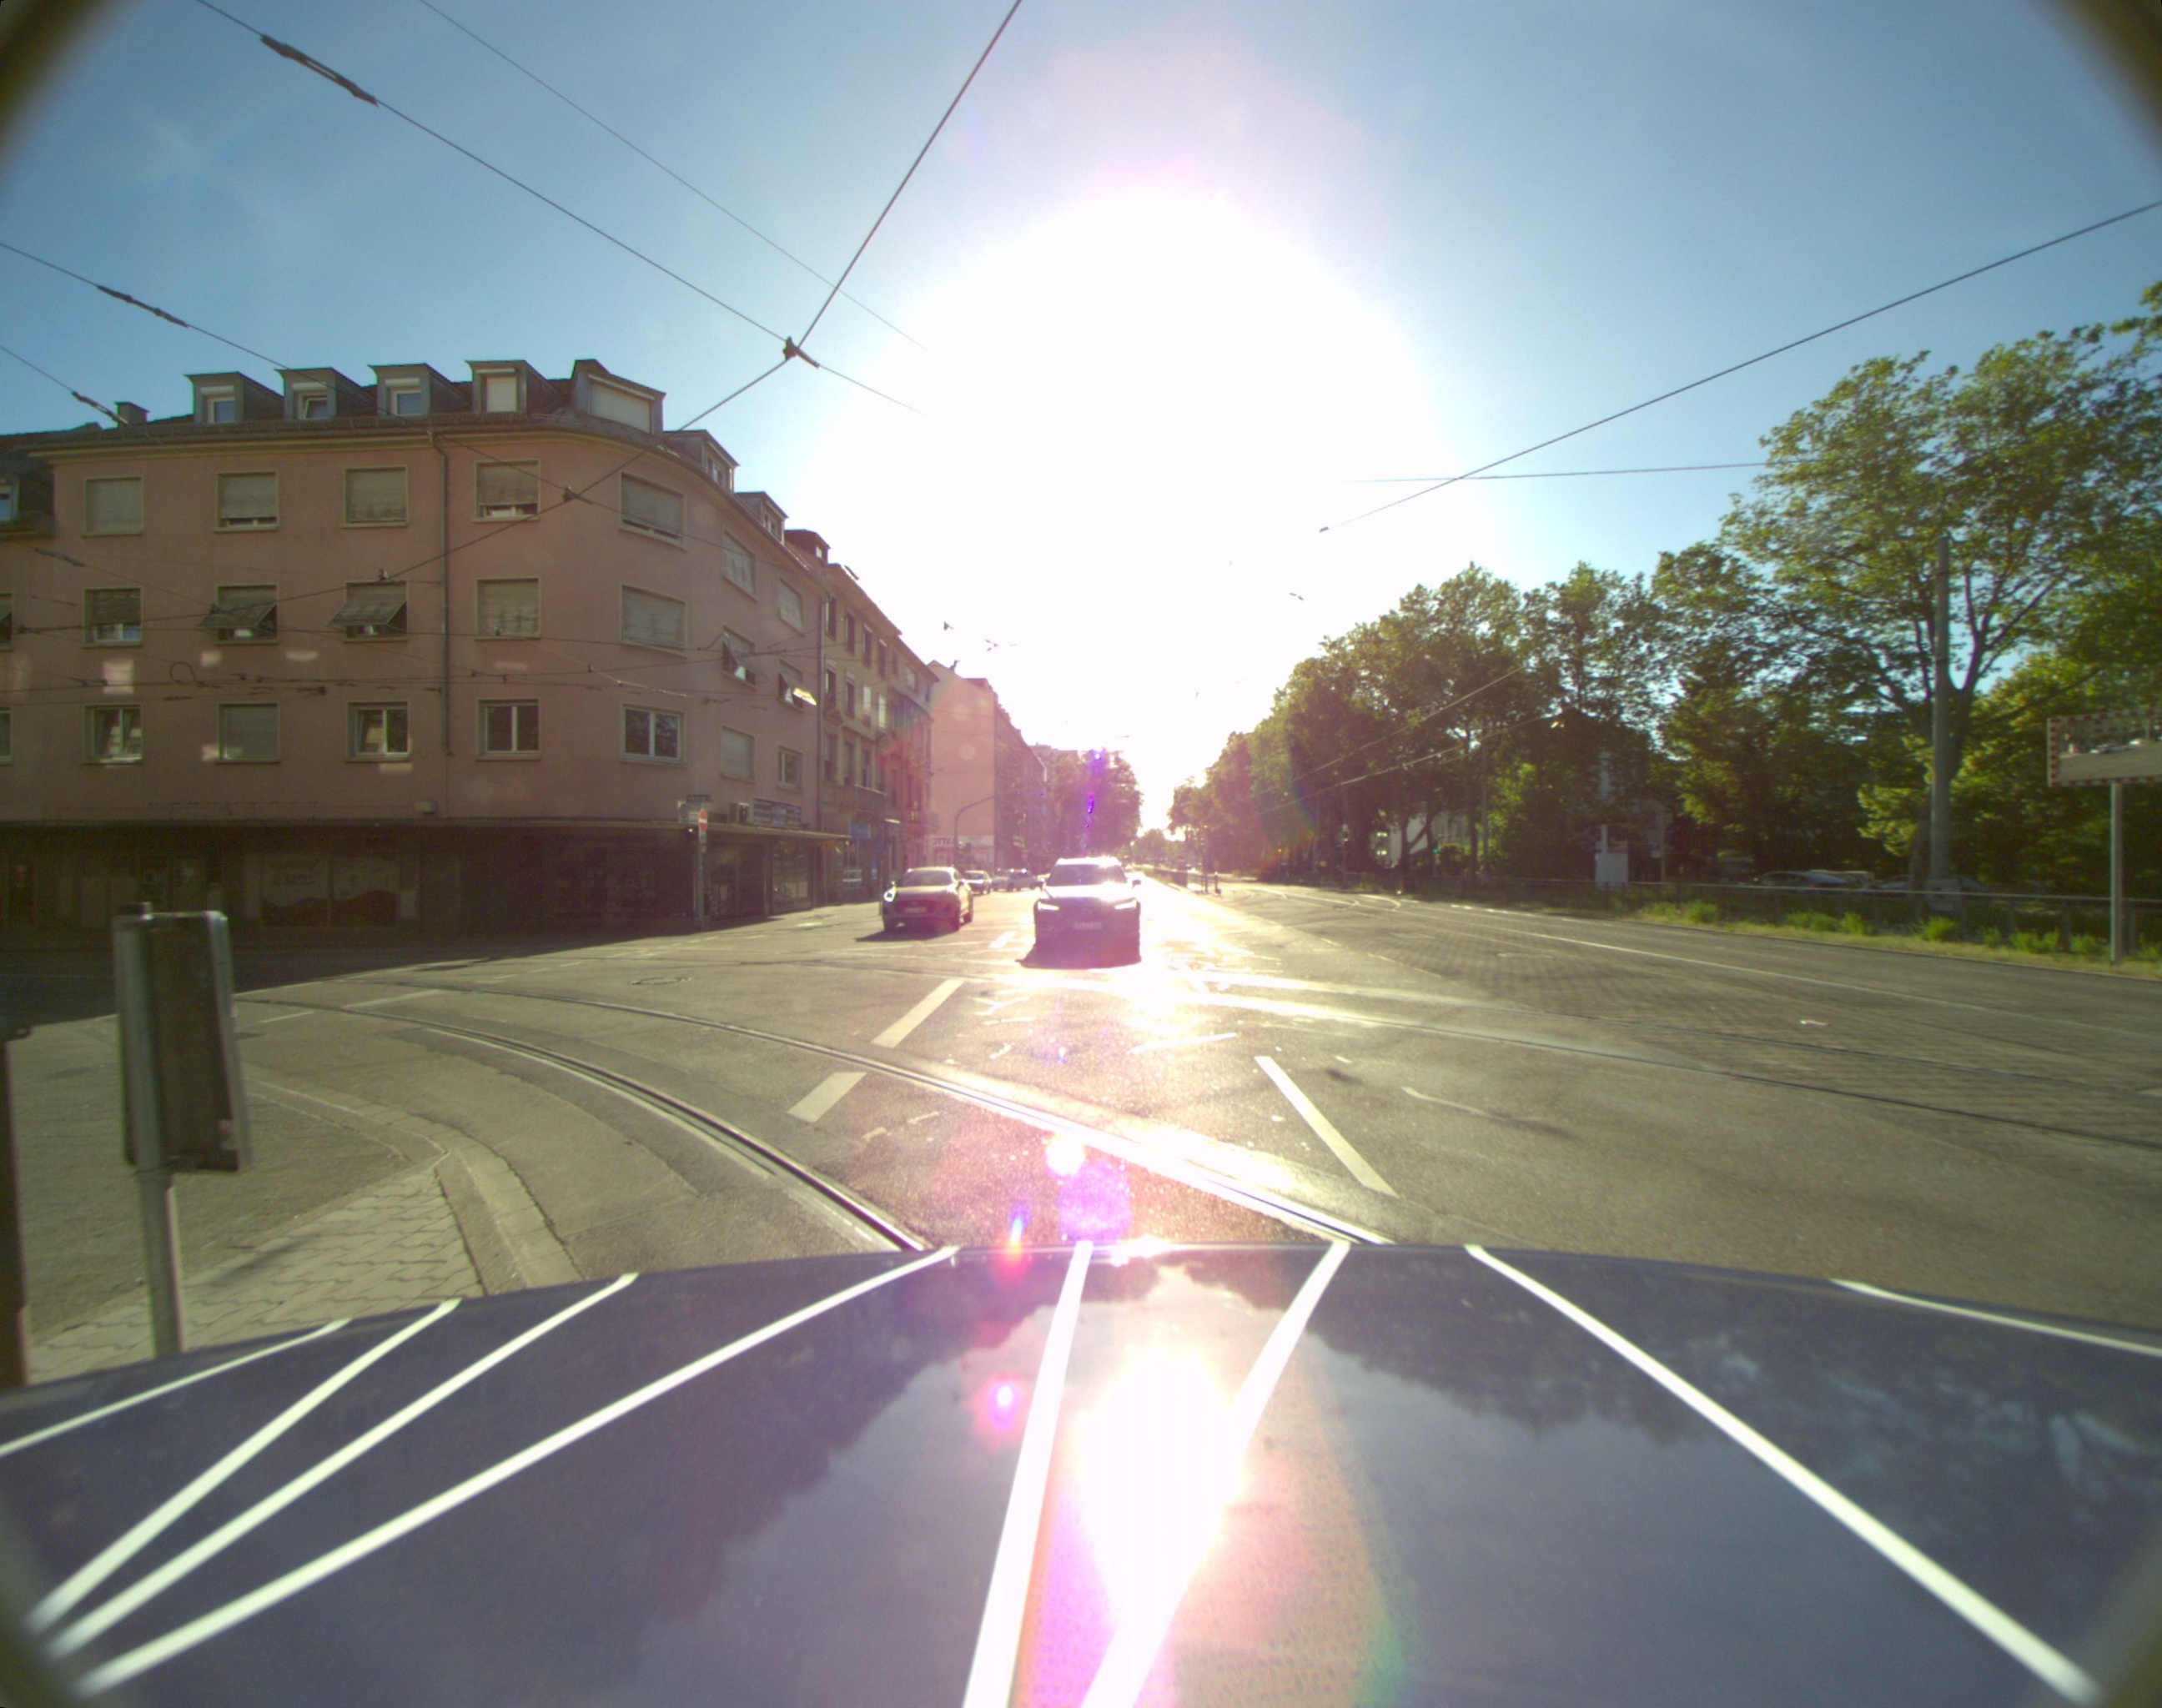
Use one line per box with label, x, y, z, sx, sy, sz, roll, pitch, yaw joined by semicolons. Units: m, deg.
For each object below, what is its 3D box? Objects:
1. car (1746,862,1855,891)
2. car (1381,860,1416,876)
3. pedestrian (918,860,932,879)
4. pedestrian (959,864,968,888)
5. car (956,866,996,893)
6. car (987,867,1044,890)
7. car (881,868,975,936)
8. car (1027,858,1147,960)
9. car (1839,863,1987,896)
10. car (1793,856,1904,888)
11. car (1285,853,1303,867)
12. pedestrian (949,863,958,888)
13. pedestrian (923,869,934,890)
car;29.239;0.907;30.992;1.503;1.043;3.130;-2;-1;3
car;30.622;1.392;73.368;1.722;1.462;3.757;-2;-1;0
pedestrian;-9.773;0.984;47.646;0.658;1.163;0.496;-1;0;16
pedestrian;-8.492;1.579;55.017;0.495;1.751;0.660;-1;0;2
car;-6.366;1.535;46.473;1.739;1.509;4.001;1;-1;2
car;-4.727;1.756;55.095;1.812;1.442;4.008;-3;-1;39
car;-3.742;1.139;19.205;1.660;1.472;3.972;-2;-1;-2
car;0.175;0.973;14.881;1.968;1.663;4.001;-2;-1;2
car;28.983;0.862;26.622;1.483;1.023;3.406;-2;-1;3
car;37.912;0.882;37.679;1.745;1.462;3.742;-2;-1;3
car;28.932;0.875;103.424;1.745;1.782;3.743;0;-2;5
pedestrian;-9.202;1.531;54.902;0.495;1.751;0.660;-1;0;2
pedestrian;-9.342;1.556;46.479;0.495;1.252;0.660;-1;0;5
